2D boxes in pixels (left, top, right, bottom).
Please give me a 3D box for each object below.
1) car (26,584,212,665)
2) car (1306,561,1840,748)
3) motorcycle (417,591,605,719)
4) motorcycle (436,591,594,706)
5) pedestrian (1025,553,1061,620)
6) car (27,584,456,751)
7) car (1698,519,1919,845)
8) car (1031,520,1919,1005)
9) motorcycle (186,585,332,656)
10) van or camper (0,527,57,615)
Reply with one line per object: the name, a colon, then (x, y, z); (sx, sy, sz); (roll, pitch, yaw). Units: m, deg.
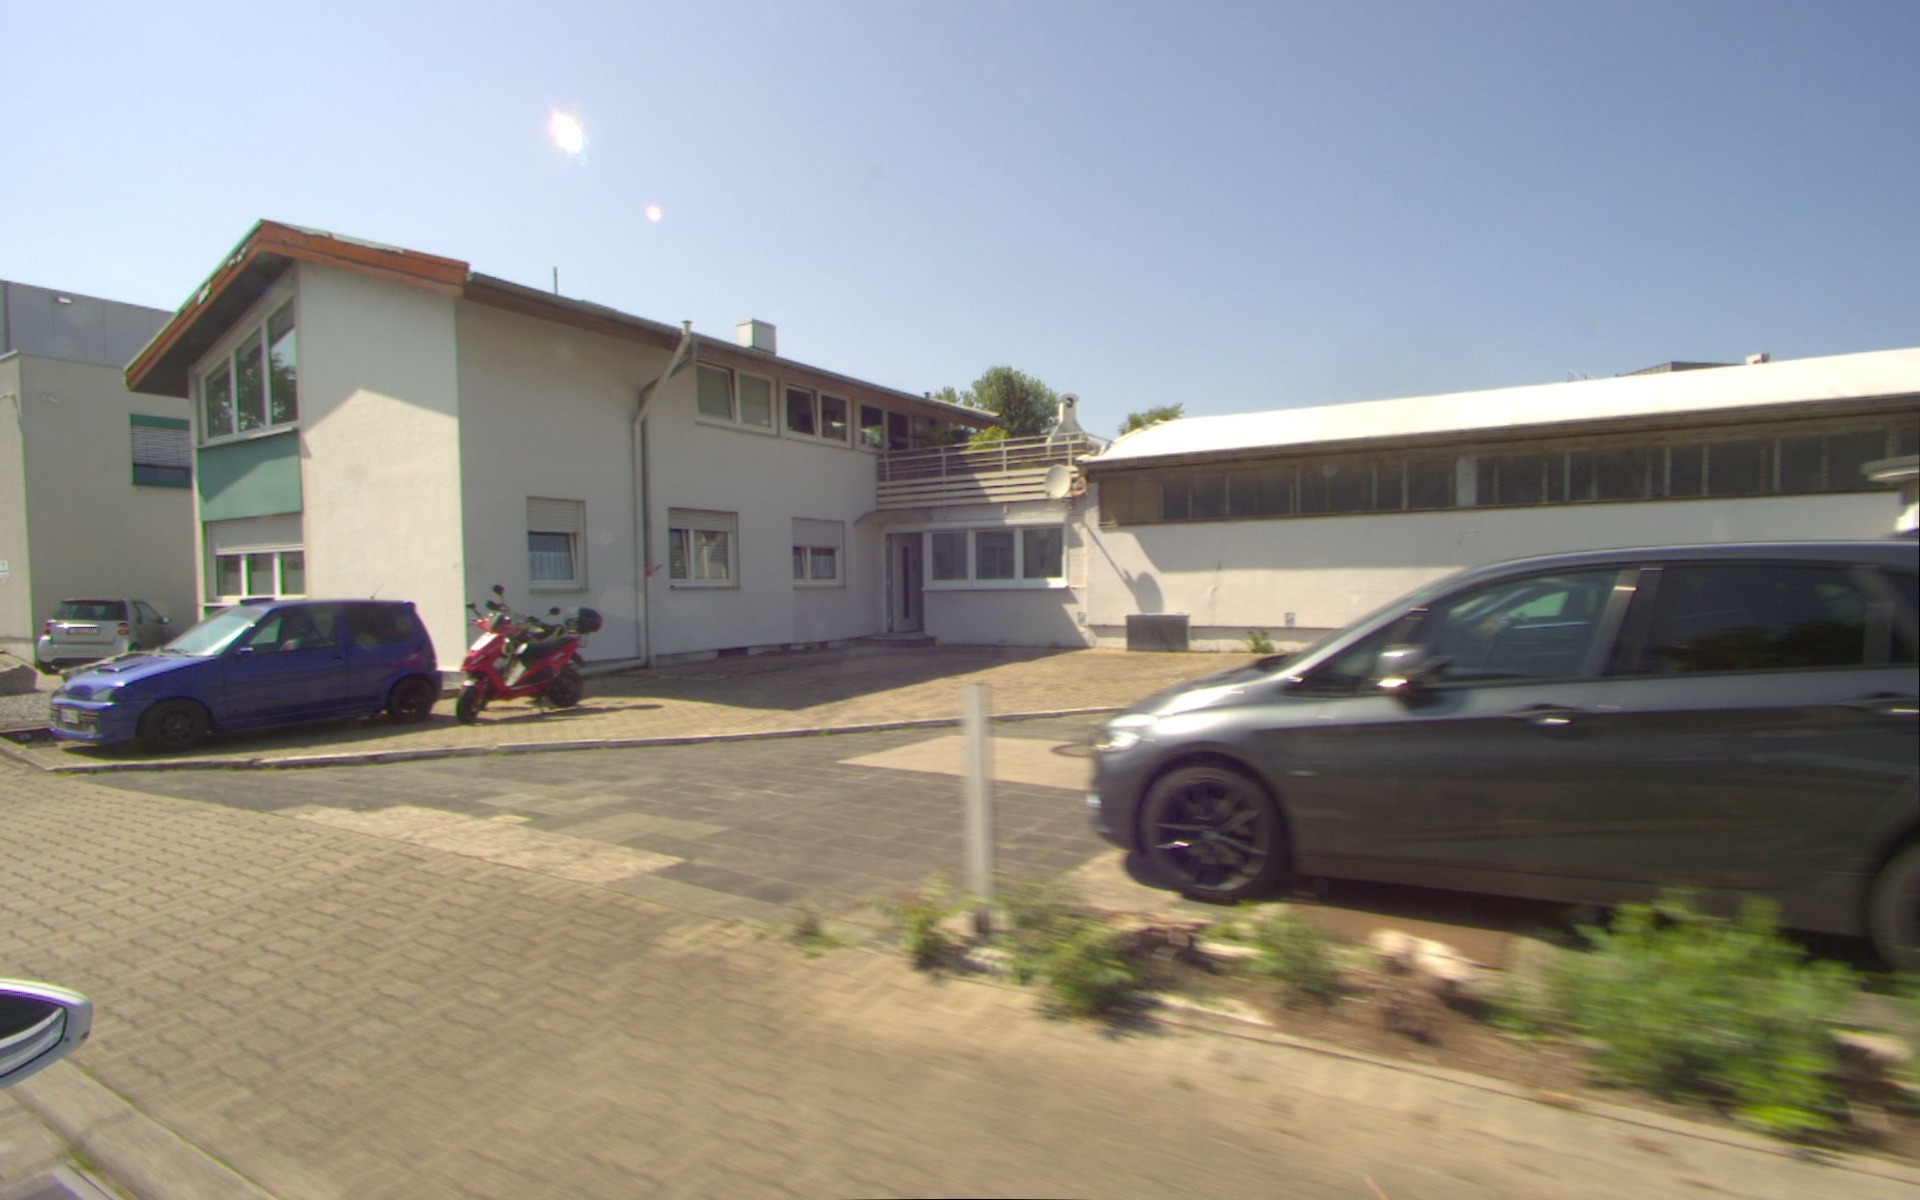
car: (-18.398, 0.464, 22.126); (1.747, 1.561, 3.694); (-1, 2, -16)
car: (5.526, 0.433, 9.683); (4.078, 1.517, 1.760); (-1, 3, 21)
motorcycle: (-5.163, 0.576, 11.661); (0.784, 1.297, 1.866); (0, 3, 29)
motorcycle: (-5.630, 0.570, 12.793); (0.783, 1.297, 1.749); (0, 3, 23)
pedestrian: (2.287, -0.373, 27.473); (0.816, 1.795, 0.740); (0, 3, 20)
car: (-7.312, 0.563, 10.473); (1.649, 1.418, 3.245); (0, 2, 32)
car: (6.096, 0.447, 5.147); (3.567, 1.615, 1.756); (1, -1, 33)
car: (2.618, 0.510, 4.605); (4.229, 1.579, 1.808); (0, 2, 31)
motorcycle: (-16.722, 0.426, 24.099); (1.747, 1.512, 3.601); (-1, 2, -16)
van or camper: (-37.433, -1.078, 37.648); (1.969, 3.333, 4.750); (1, 2, 28)
